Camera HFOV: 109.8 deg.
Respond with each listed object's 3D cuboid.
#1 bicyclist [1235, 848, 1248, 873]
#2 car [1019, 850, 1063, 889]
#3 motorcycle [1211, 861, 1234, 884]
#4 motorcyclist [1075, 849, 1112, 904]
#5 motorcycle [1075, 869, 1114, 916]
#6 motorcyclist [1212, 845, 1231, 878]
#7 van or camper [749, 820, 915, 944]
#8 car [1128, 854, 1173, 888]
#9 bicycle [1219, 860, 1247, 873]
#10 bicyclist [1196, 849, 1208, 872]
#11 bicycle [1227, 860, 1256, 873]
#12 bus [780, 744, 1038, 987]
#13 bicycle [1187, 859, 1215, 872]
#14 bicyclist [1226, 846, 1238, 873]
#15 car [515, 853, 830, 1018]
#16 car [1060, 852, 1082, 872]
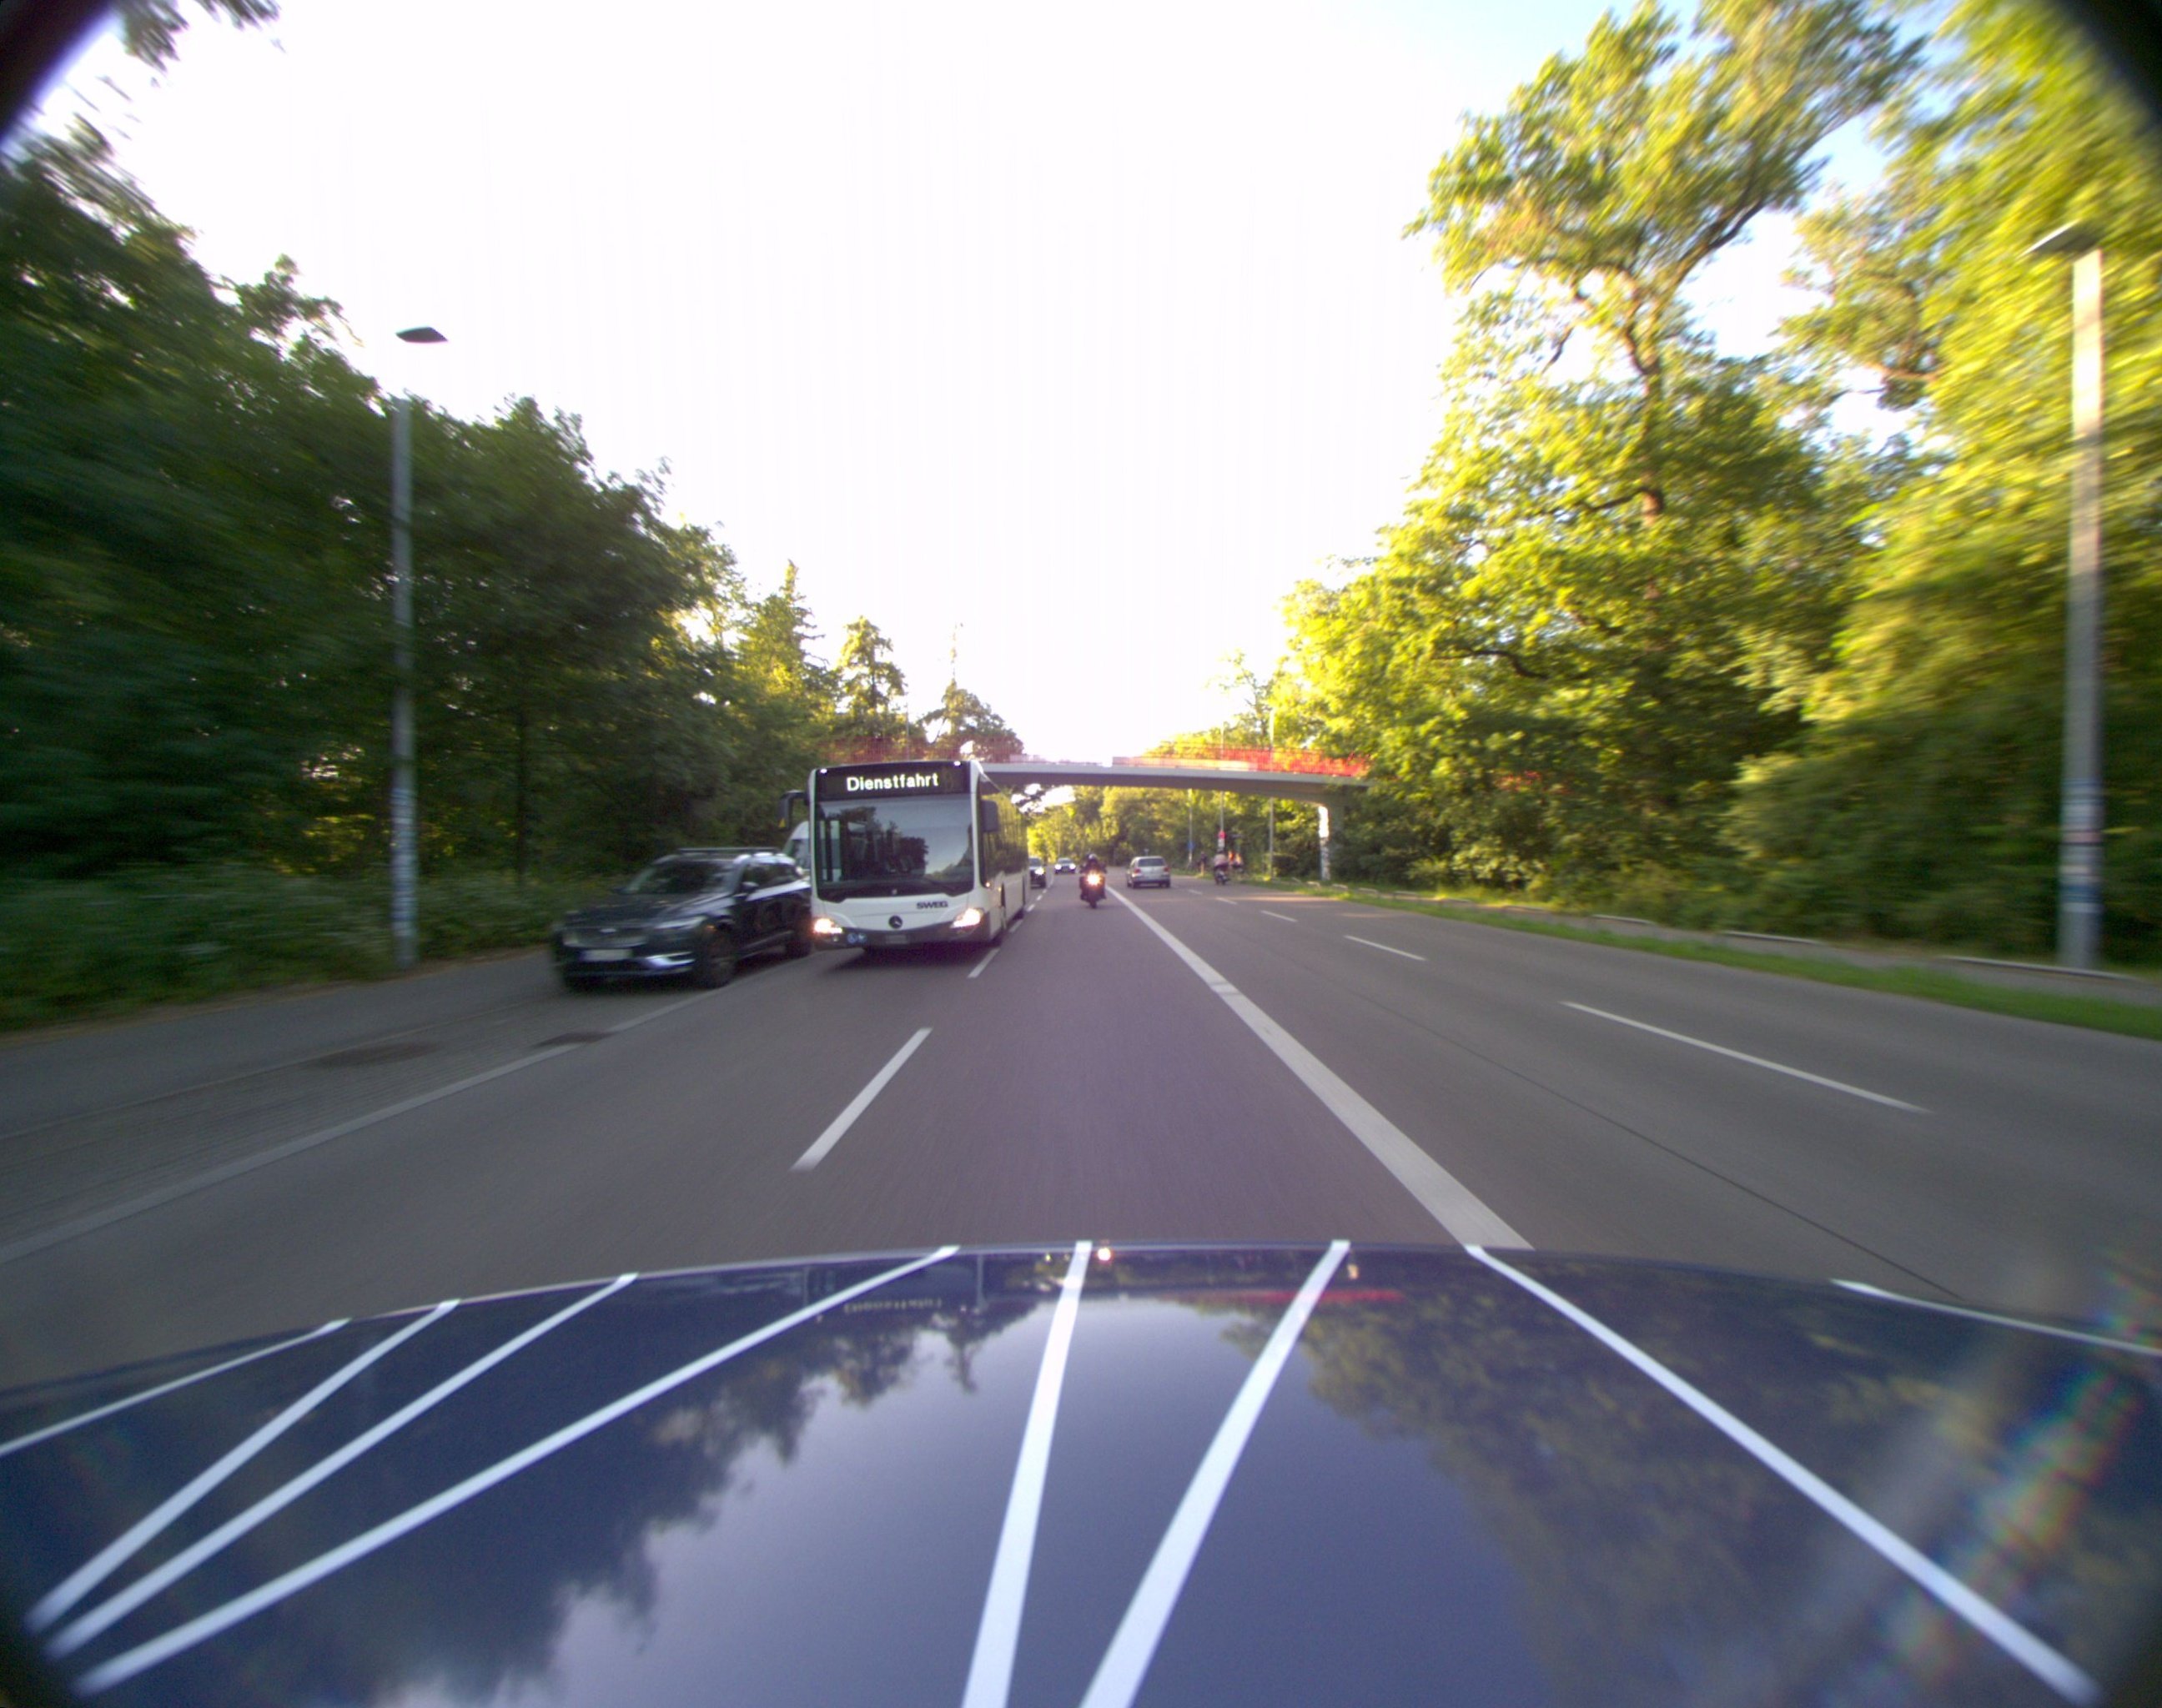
[{"bbox_3d":[11.284,0.462,53.339,0.797,1.687,0.946,-1,0,7],"label":"bicyclist"},{"bbox_3d":[-1.970,0.731,38.384,1.999,1.838,3.999,-1,0,0],"label":"car"},{"bbox_3d":[6.536,0.829,35.240,0.638,0.989,2.077,-2,0,0],"label":"motorcycle"},{"bbox_3d":[0.356,0.634,21.905,0.953,1.523,1.074,-3,1,0],"label":"motorcyclist"},{"bbox_3d":[0.355,1.043,21.638,0.956,1.098,3.339,-3,0,0],"label":"motorcycle"},{"bbox_3d":[6.532,0.349,35.381,0.726,1.496,0.671,-1,1,0],"label":"motorcyclist"},{"bbox_3d":[-5.732,0.569,18.514,2.124,2.502,5.979,-1,0,-1],"label":"van or camper"},{"bbox_3d":[3.153,0.737,35.084,1.686,1.398,3.889,-2,0,0],"label":"car"},{"bbox_3d":[10.921,0.890,54.690,1.930,0.929,0.825,0,0,8],"label":"bicycle"},{"bbox_3d":[8.608,0.439,53.899,0.797,1.634,0.842,-1,0,7],"label":"bicyclist"},{"bbox_3d":[11.282,0.881,53.376,1.930,0.929,0.825,-1,0,8],"label":"bicycle"},{"bbox_3d":[-2.690,0.126,16.521,2.711,3.203,12.277,-2,0,0],"label":"bus"},{"bbox_3d":[8.499,0.811,53.924,1.930,0.929,0.825,-1,0,8],"label":"bicycle"},{"bbox_3d":[10.875,0.374,54.680,0.797,1.890,0.817,-1,0,7],"label":"bicyclist"},{"bbox_3d":[-5.468,0.924,11.145,1.834,1.857,5.074,-1,0,0],"label":"car"},{"bbox_3d":[-1.003,0.711,72.216,1.999,1.761,4.230,-1,0,-2],"label":"car"}]
